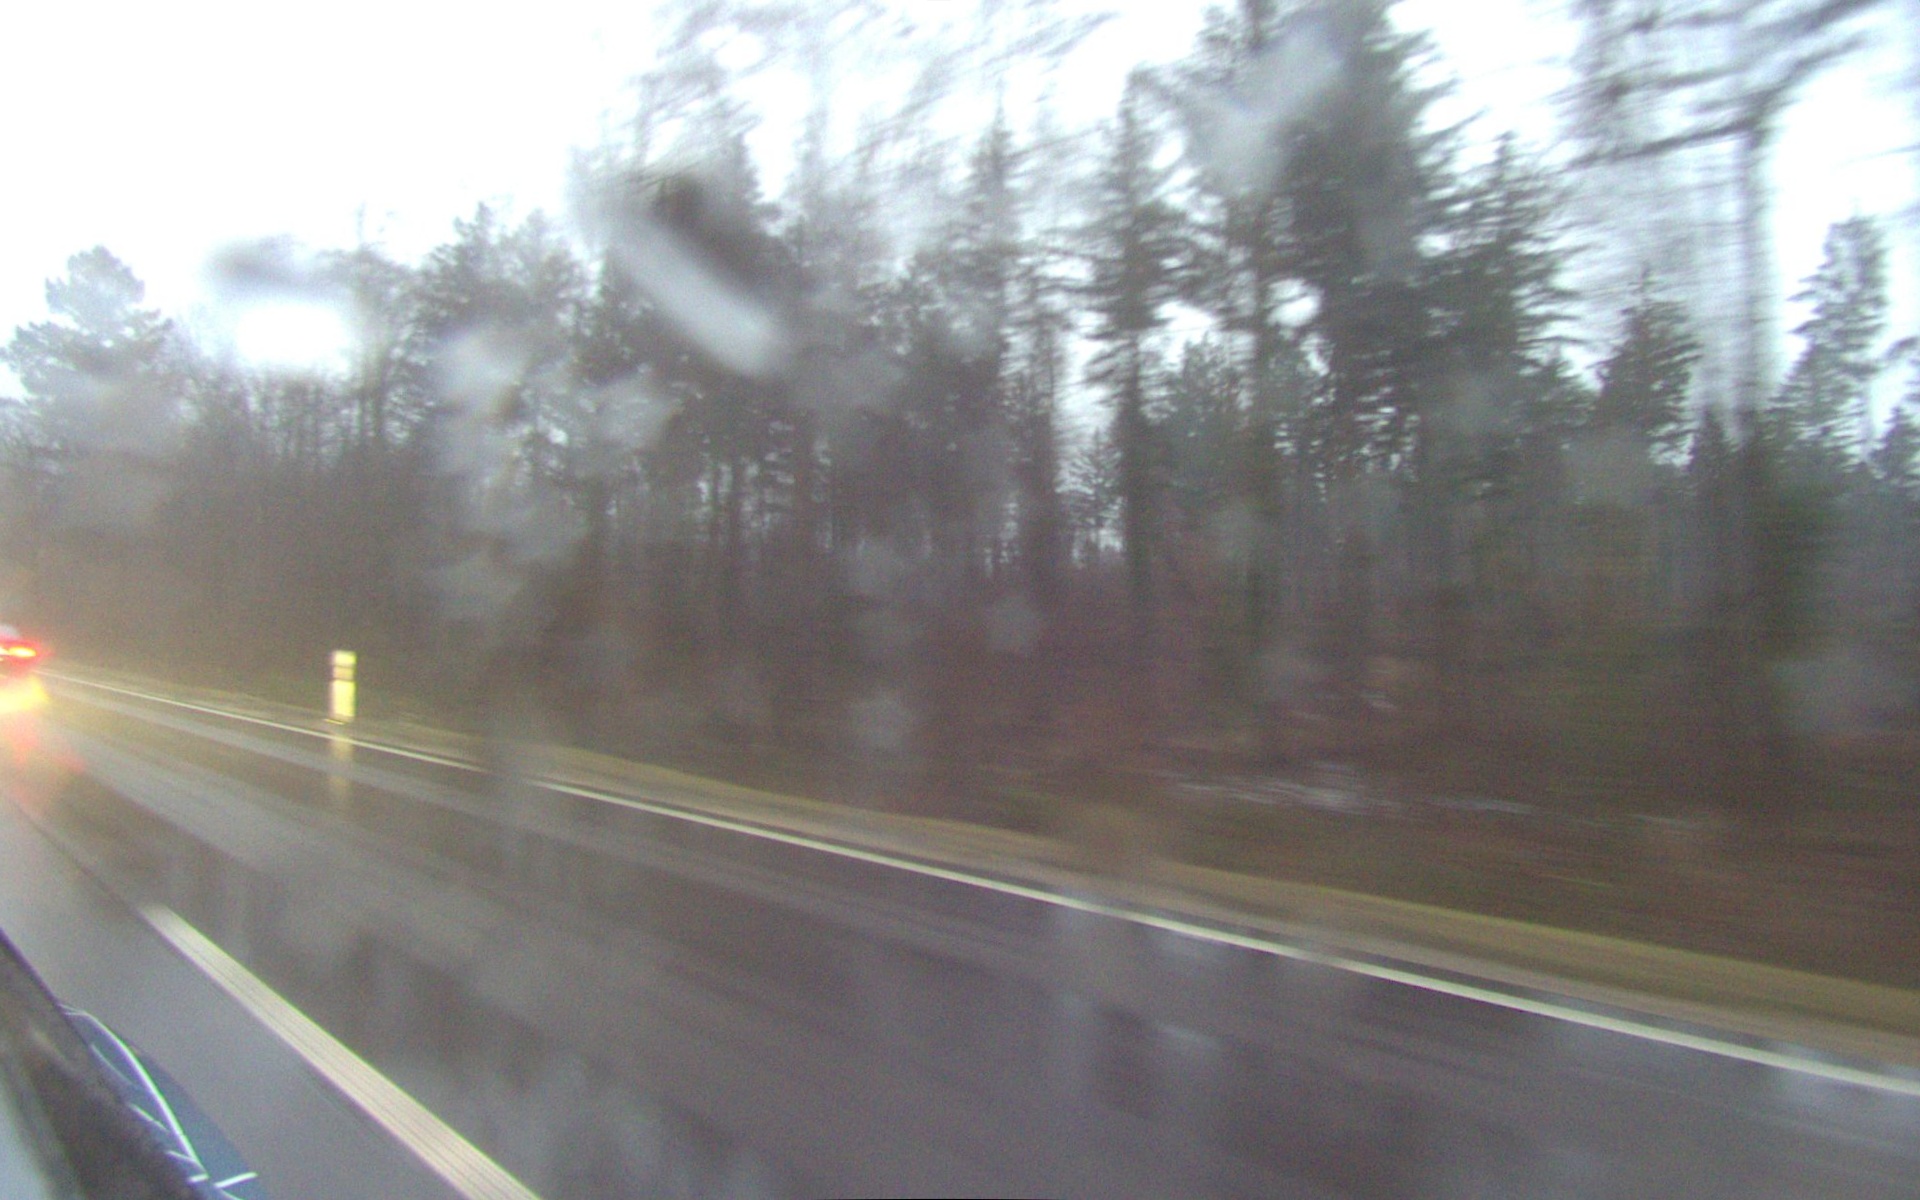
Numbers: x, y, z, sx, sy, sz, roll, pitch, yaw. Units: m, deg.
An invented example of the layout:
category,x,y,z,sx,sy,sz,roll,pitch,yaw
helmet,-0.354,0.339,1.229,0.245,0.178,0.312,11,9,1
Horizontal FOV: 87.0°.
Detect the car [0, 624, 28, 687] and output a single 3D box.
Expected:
category,x,y,z,sx,sy,sz,roll,pitch,yaw
car,-24.563,1.348,25.022,4.505,1.469,1.746,-1,-2,41
